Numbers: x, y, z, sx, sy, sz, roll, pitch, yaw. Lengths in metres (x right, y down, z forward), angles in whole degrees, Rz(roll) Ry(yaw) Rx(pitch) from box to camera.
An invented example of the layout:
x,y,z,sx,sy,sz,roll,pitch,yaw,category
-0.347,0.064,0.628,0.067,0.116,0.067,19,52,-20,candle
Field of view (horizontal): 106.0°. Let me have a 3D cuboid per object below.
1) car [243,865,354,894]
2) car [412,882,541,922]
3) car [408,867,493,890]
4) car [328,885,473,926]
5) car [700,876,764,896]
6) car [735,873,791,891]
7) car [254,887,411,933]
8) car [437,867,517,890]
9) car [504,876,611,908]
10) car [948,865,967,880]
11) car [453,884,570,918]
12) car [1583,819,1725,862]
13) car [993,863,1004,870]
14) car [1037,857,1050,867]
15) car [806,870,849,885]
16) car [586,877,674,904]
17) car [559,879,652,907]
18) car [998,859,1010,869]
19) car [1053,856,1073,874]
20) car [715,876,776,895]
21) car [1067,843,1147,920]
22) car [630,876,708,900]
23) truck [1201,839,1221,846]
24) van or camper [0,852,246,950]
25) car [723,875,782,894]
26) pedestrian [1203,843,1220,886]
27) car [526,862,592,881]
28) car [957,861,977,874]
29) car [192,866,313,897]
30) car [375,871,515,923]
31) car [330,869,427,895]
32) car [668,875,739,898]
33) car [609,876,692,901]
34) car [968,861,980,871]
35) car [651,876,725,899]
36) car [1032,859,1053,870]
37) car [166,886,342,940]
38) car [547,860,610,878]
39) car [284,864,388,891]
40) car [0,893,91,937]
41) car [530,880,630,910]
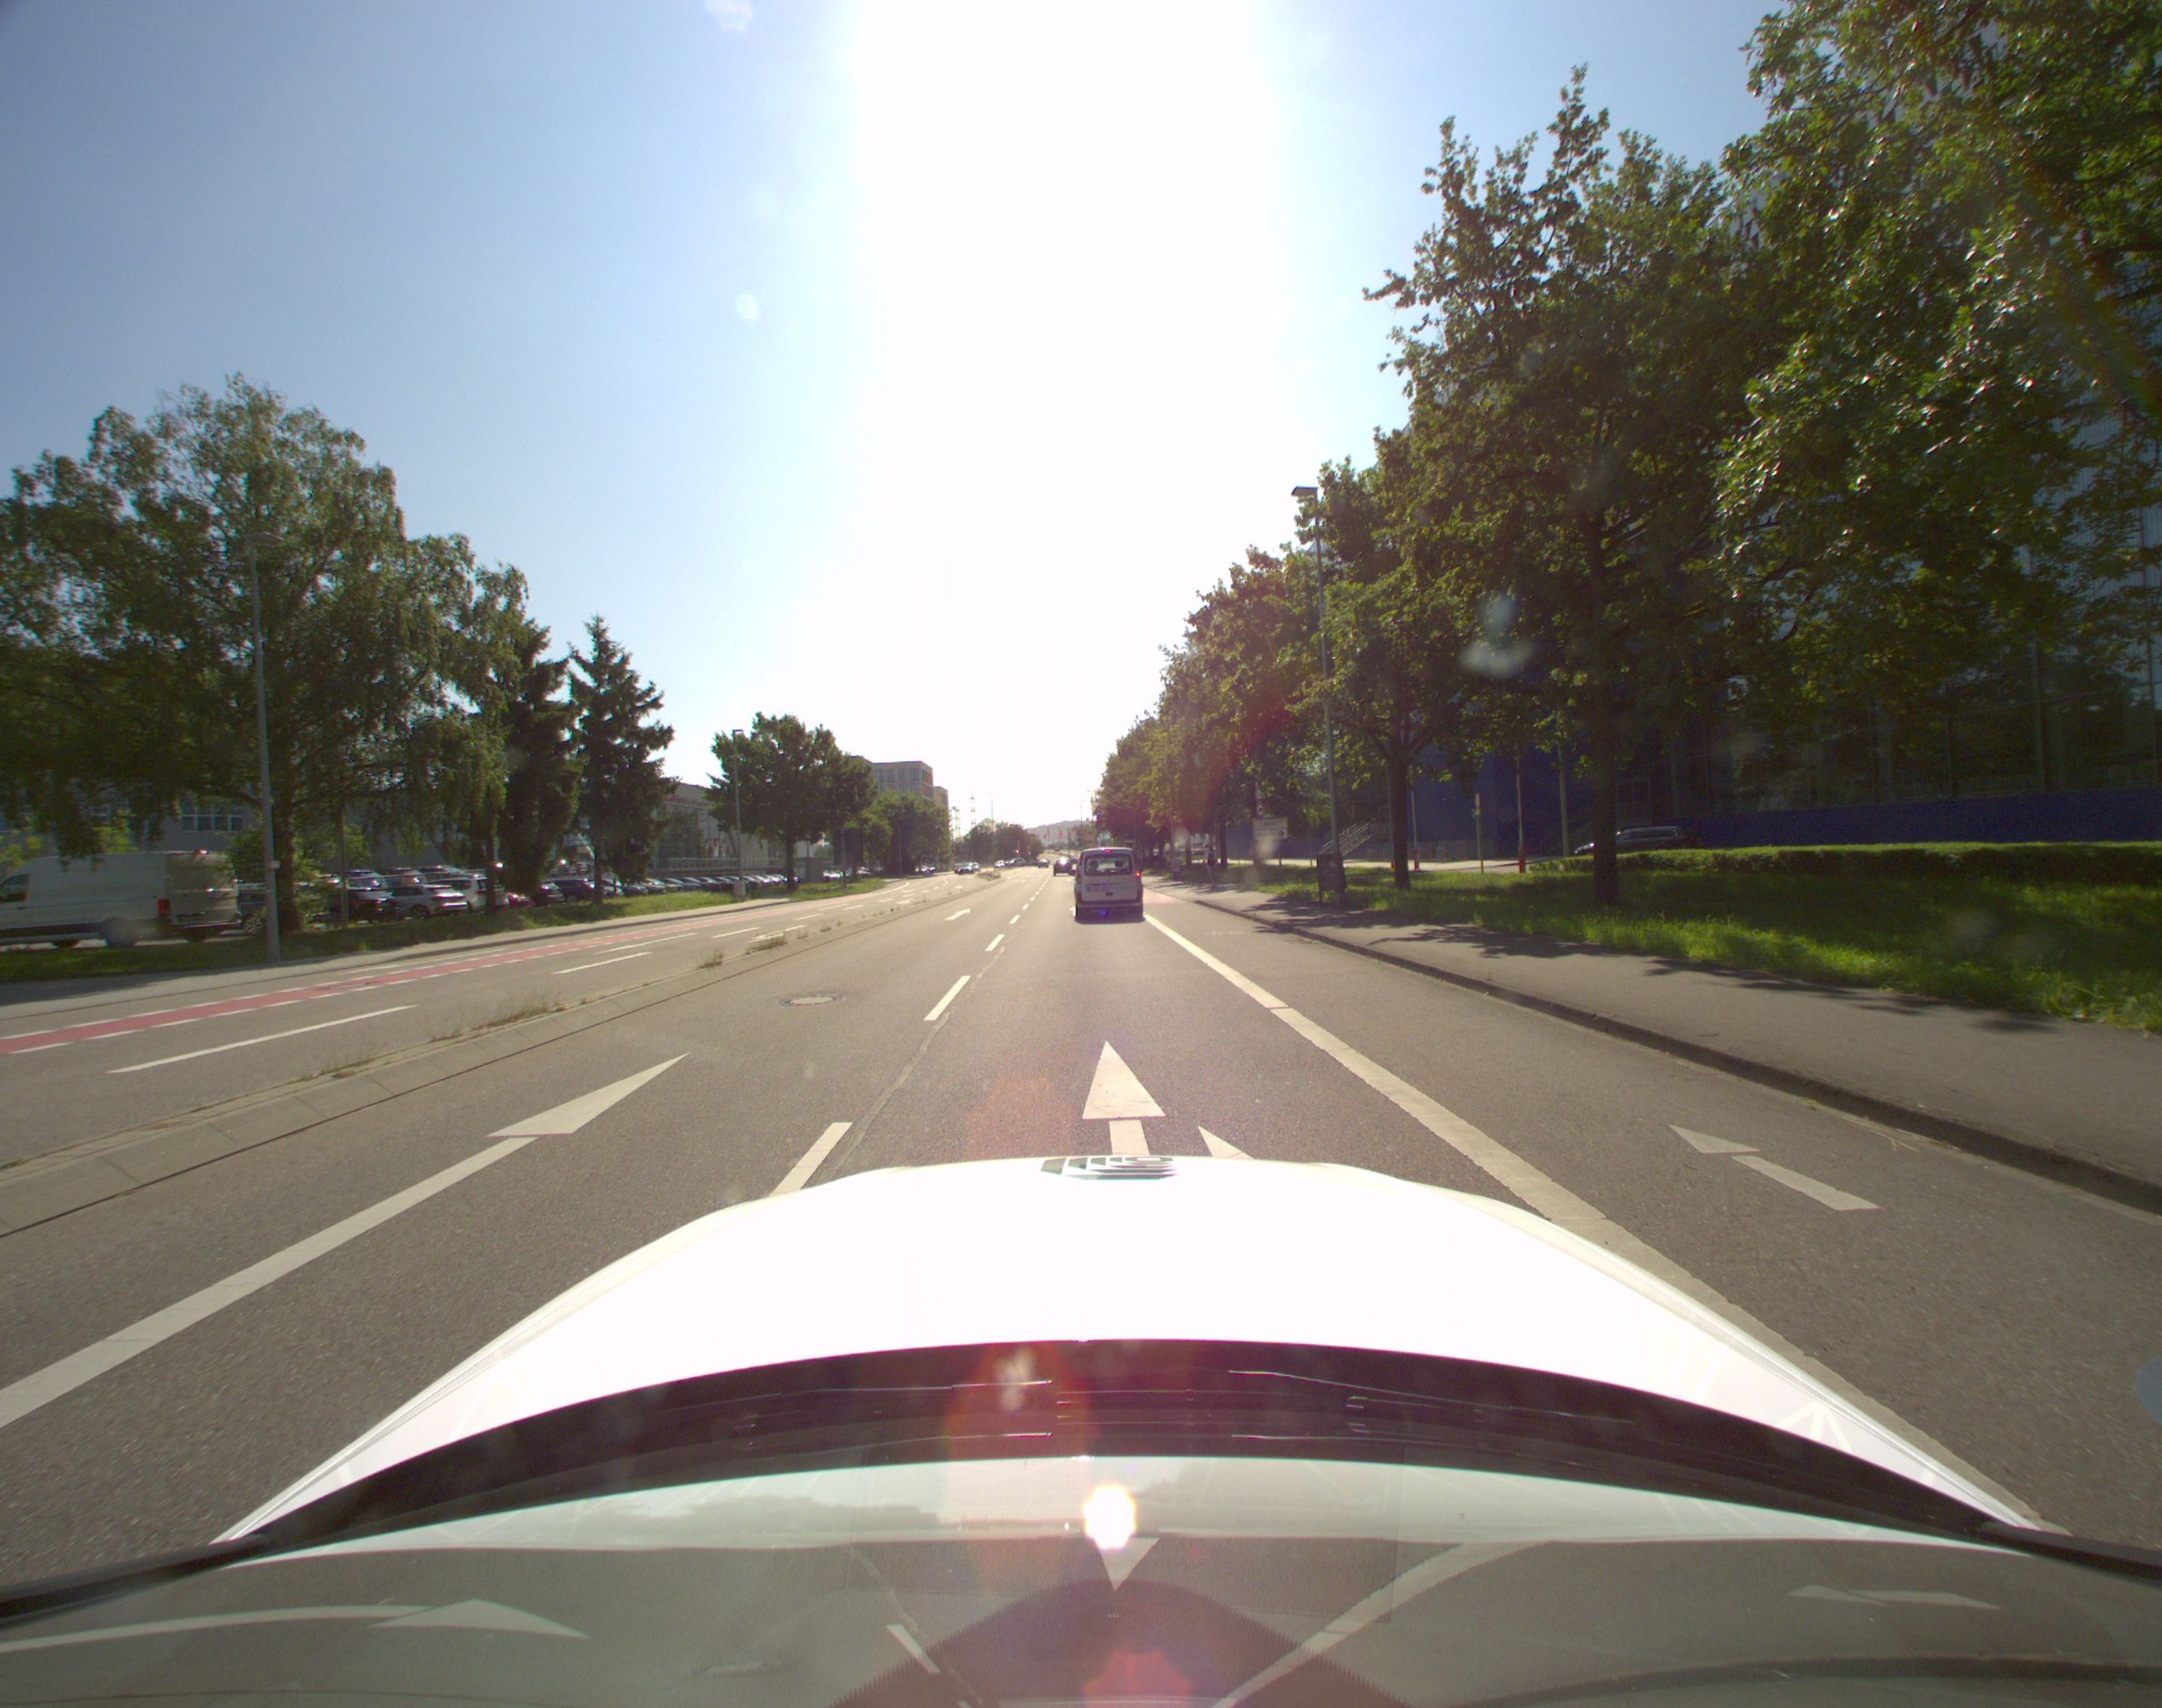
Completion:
x,y,z,sx,sy,sz,roll,pitch,yaw,category
-43.963,1.418,45.806,4.253,1.350,1.953,-3,0,-1,car
-27.210,2.149,36.762,4.251,1.504,1.954,-3,0,1,car
-43.786,1.668,56.609,4.253,1.350,1.953,-3,0,-1,car
-26.298,1.976,31.566,4.072,1.293,1.744,-3,0,1,car
-28.200,2.603,65.974,4.251,1.350,1.954,-3,0,1,car
-28.533,2.496,73.161,4.251,1.350,1.954,-3,0,1,car
-26.576,1.970,28.973,4.068,1.354,1.746,-3,-1,4,car
-43.700,1.768,58.989,4.253,1.350,1.953,-3,0,-1,car
-27.259,1.962,42.527,4.251,1.381,1.954,-3,0,1,car
-17.753,2.667,117.246,1.987,2.013,4.000,-1,1,0,car
-27.630,2.264,39.629,4.251,1.328,1.954,-3,0,1,car
23.415,-0.524,33.398,1.920,1.520,4.326,-3,0,-36,car
-18.877,2.769,186.086,1.884,1.464,4.004,-3,0,3,car
-6.686,1.435,145.771,1.987,1.684,3.999,-3,0,0,car
-28.244,2.623,90.870,4.030,1.376,2.024,-3,0,-1,car
-27.731,2.220,50.165,4.251,1.350,1.954,-3,0,1,car
-27.781,2.261,47.690,4.251,1.350,1.954,-3,0,1,car
-15.765,1.989,167.114,1.989,1.832,4.931,-3,0,-3,car
-1.724,1.024,80.402,1.802,1.640,4.457,-3,0,0,car
-28.282,2.637,68.801,4.251,1.350,1.954,-3,0,1,car
0.622,0.696,22.333,1.900,1.829,4.178,-3,0,-1,car
-27.972,2.316,55.380,4.251,1.350,1.954,-3,0,1,car
40.265,-3.600,252.581,5.889,2.013,2.001,-1,1,1,truck
-26.826,1.238,22.393,5.367,2.470,1.998,-1,1,-4,van or camper
-28.522,2.655,70.890,4.251,1.350,1.954,-3,0,1,car
5.654,0.444,35.304,0.533,1.841,0.727,-3,-1,-1,pedestrian
-44.455,1.458,69.377,4.253,1.350,1.953,-3,0,-1,car
-14.370,1.677,103.041,1.836,1.463,4.998,-5,0,-1,car
-43.640,1.457,42.977,4.253,1.350,1.953,-3,0,-1,car
-26.638,1.777,34.214,4.251,1.884,1.954,-3,0,1,car
-43.851,1.715,50.891,4.253,1.350,1.953,-3,0,-1,car
-28.026,2.402,60.508,4.251,1.350,1.954,-3,0,1,car
-27.894,2.222,52.856,4.251,1.350,1.954,-3,0,1,car
-17.803,1.940,135.548,1.650,1.464,3.545,-4,0,-4,car
-27.928,2.360,57.954,4.251,1.350,1.954,-3,0,1,car
-7.948,2.165,169.604,3.994,2.013,1.990,-1,1,-16,car
-26.934,1.919,26.611,4.068,1.438,1.746,-3,0,4,car
-44.516,1.358,72.199,4.253,1.350,1.953,-3,0,-1,car
-44.062,1.389,48.215,4.253,1.350,1.953,-3,0,-1,car
-37.862,2.209,28.671,4.068,1.354,1.746,-3,0,4,car
-27.691,2.241,45.119,4.251,1.350,1.954,-3,0,1,car
